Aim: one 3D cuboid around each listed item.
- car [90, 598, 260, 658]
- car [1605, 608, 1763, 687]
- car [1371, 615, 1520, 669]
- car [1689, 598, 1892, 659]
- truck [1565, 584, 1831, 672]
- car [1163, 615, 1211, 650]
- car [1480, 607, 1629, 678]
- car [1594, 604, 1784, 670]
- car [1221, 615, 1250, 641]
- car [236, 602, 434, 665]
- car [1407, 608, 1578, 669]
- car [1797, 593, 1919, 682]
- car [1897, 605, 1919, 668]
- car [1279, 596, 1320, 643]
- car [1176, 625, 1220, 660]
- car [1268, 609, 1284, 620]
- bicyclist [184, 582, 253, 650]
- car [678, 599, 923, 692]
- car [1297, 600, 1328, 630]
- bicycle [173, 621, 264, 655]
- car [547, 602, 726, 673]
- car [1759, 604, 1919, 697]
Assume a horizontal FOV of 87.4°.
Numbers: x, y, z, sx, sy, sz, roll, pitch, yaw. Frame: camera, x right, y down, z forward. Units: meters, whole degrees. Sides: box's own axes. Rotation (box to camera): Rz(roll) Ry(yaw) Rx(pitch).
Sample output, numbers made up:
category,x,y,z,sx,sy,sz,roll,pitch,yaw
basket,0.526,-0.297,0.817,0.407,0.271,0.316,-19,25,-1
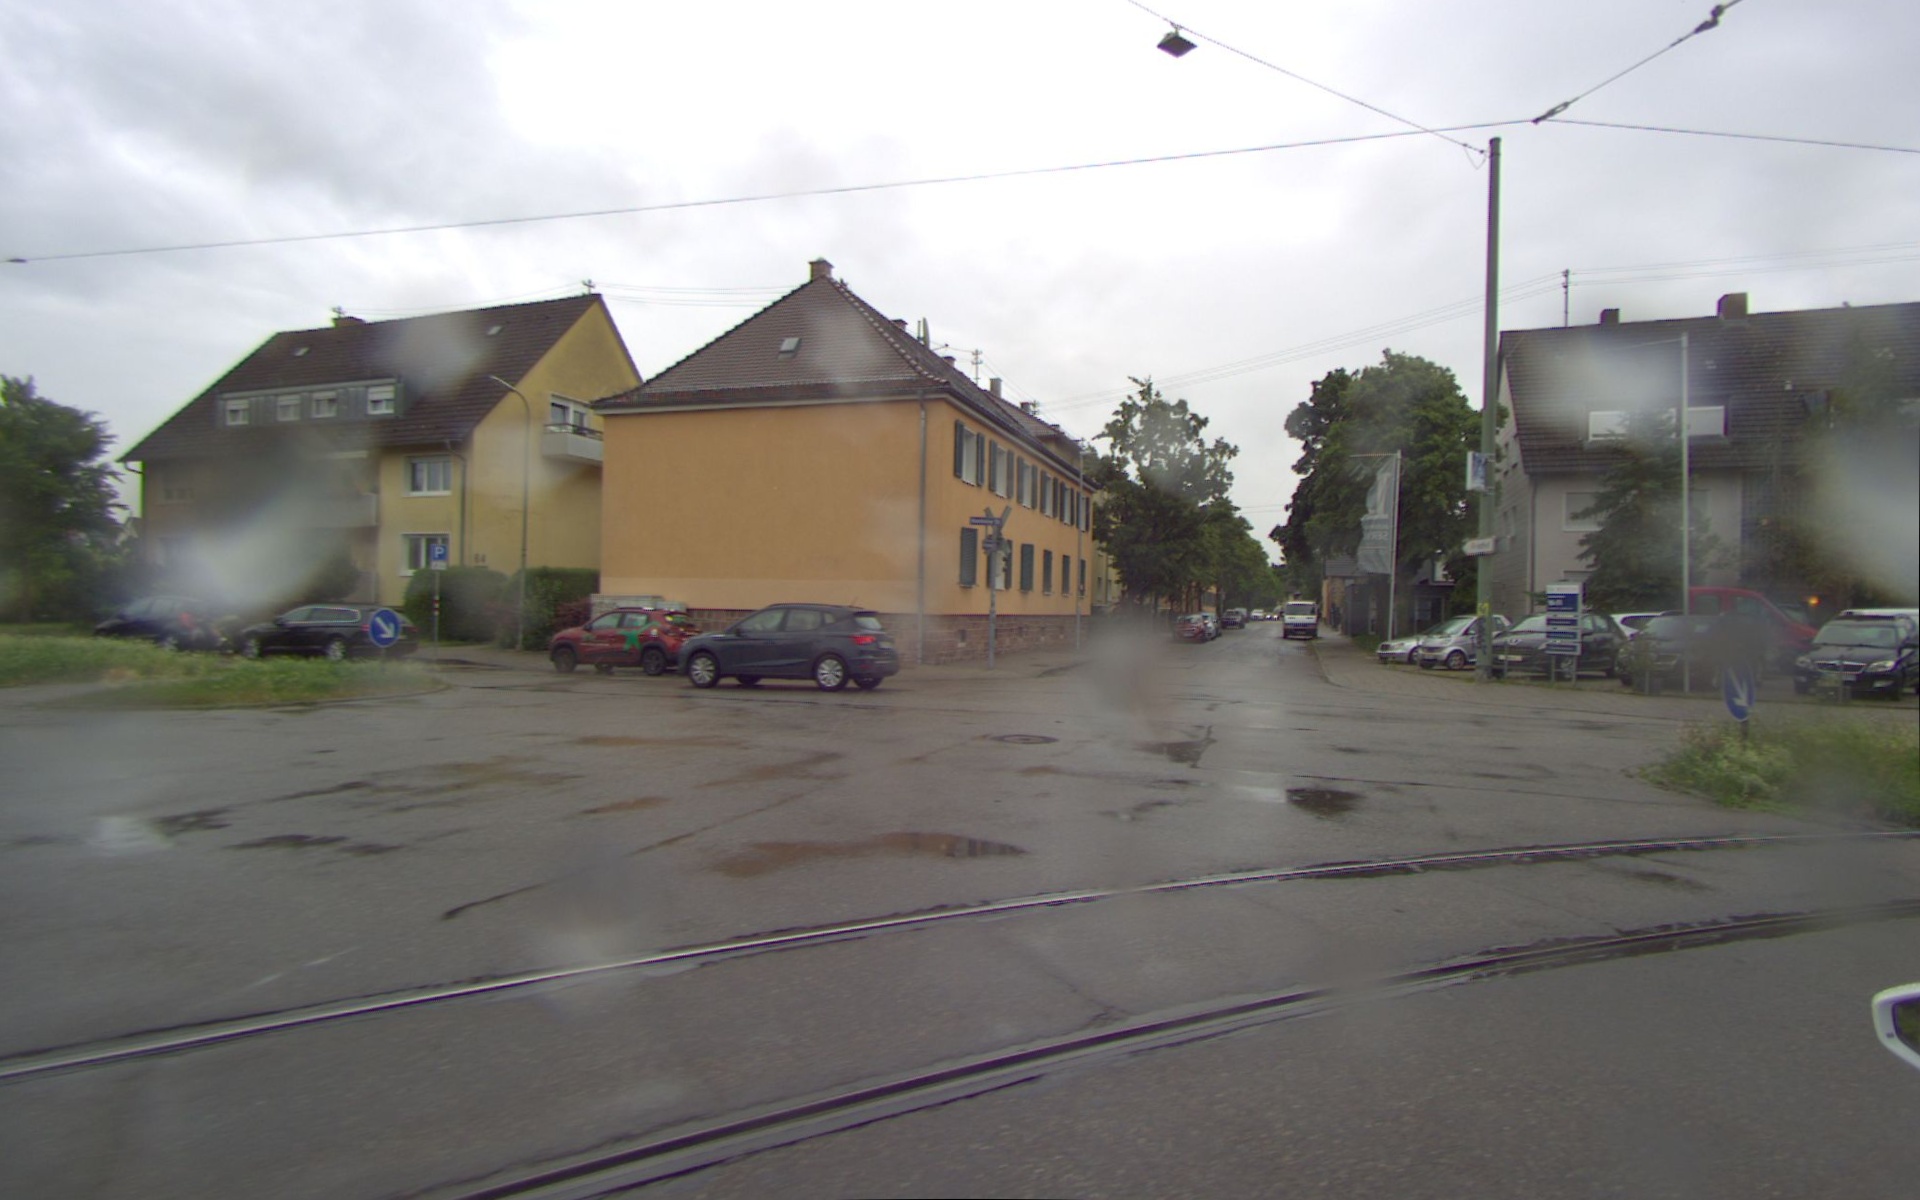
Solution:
category,x,y,z,sx,sy,sz,roll,pitch,yaw
car,-21.586,0.742,27.634,3.920,1.350,1.760,3,0,18
car,16.014,1.001,22.175,3.835,1.599,1.789,1,-1,-37
car,15.095,1.294,31.377,3.795,1.599,1.808,1,-1,1
car,25.137,0.852,30.628,4.362,1.709,1.999,1,-1,23
truck,21.076,0.754,28.918,6.013,2.302,1.990,0,-2,41
car,11.501,1.605,50.775,1.960,1.639,4.001,1,-1,19
car,14.466,0.984,24.387,3.835,1.599,1.789,1,-1,-37
car,19.302,0.950,26.661,3.920,1.619,1.990,0,-2,41
car,23.089,2.298,84.071,1.961,2.040,4.000,3,0,20
car,-16.053,0.824,25.836,4.416,1.414,1.967,1,0,19
car,14.722,1.052,27.937,3.795,1.599,1.808,1,-1,1
car,23.046,0.905,23.922,4.362,2.040,1.999,1,-1,23
car,28.214,1.039,26.732,4.362,1.709,1.999,1,-1,23
car,20.309,1.138,60.166,2.117,2.607,4.134,3,0,18
car,13.091,2.292,55.105,1.960,1.773,4.001,1,-1,19
car,57.103,2.610,181.367,1.797,1.719,4.033,3,0,4
bicyclist,-18.201,0.385,24.671,1.022,1.619,0.950,0,-1,20
car,-2.867,0.772,18.269,3.921,1.496,2.000,1,0,20
car,25.881,1.125,73.609,1.961,2.040,4.000,3,0,20
bicycle,-18.187,0.918,24.641,1.784,0.797,0.942,0,-1,20
car,-7.445,0.828,23.196,3.545,1.356,1.723,3,0,19
car,18.360,0.989,20.760,3.963,1.739,1.979,1,-1,-37
